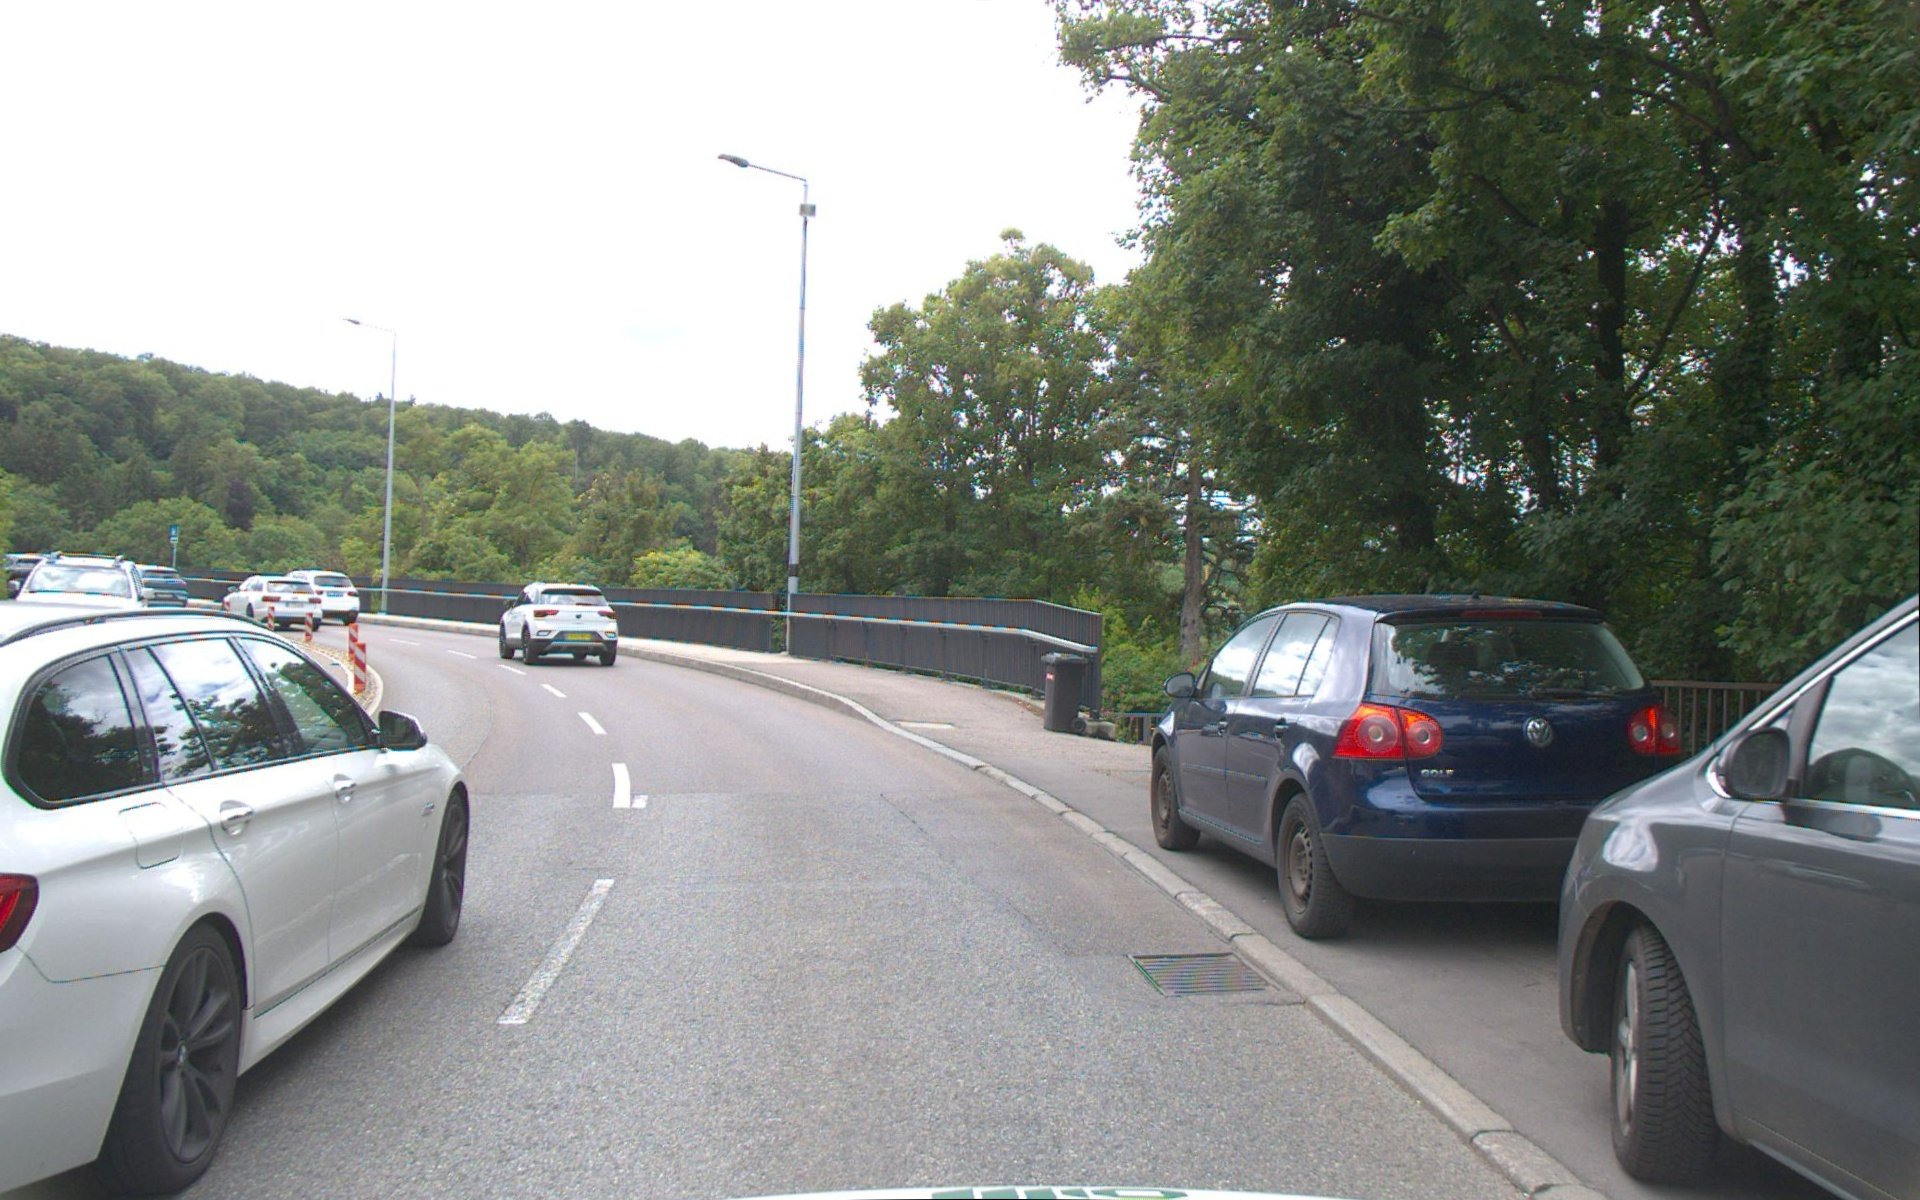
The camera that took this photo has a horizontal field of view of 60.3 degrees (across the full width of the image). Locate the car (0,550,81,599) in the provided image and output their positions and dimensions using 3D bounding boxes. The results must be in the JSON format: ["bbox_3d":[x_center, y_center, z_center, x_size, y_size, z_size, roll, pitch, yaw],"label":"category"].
[{"bbox_3d":[-35.794,-1.019,63.467,3.913,1.719,1.818,3,0,30],"label":"car"}]

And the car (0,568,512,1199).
[{"bbox_3d":[-2.844,0.678,5.272,1.812,1.492,4.874,3,0,-5],"label":"car"}]

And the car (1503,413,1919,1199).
[{"bbox_3d":[2.756,0.569,2.805,1.763,1.803,4.602,2,0,-5],"label":"car"}]

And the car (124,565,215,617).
[{"bbox_3d":[-26.765,-0.313,55.956,1.979,1.567,3.957,3,0,-37],"label":"car"}]

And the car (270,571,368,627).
[{"bbox_3d":[-20.552,-0.046,52.938,1.977,1.614,3.951,3,0,-35],"label":"car"}]

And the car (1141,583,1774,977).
[{"bbox_3d":[2.183,0.702,8.466,1.628,1.513,4.029,2,0,-6],"label":"car"}]

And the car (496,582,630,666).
[{"bbox_3d":[-8.037,0.455,33.259,1.844,1.563,3.772,2,0,-26],"label":"car"}]

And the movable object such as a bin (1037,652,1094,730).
[{"bbox_3d":[1.289,1.110,20.270,0.512,0.896,0.530,3,0,-16],"label":"movable object such as a bin"}]

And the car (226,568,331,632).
[{"bbox_3d":[-19.247,-0.013,46.641,1.890,1.601,3.952,3,0,-35],"label":"car"}]

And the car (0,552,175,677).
[{"bbox_3d":[-14.374,0.187,27.513,1.883,1.860,5.275,1,1,-20],"label":"car"}]
